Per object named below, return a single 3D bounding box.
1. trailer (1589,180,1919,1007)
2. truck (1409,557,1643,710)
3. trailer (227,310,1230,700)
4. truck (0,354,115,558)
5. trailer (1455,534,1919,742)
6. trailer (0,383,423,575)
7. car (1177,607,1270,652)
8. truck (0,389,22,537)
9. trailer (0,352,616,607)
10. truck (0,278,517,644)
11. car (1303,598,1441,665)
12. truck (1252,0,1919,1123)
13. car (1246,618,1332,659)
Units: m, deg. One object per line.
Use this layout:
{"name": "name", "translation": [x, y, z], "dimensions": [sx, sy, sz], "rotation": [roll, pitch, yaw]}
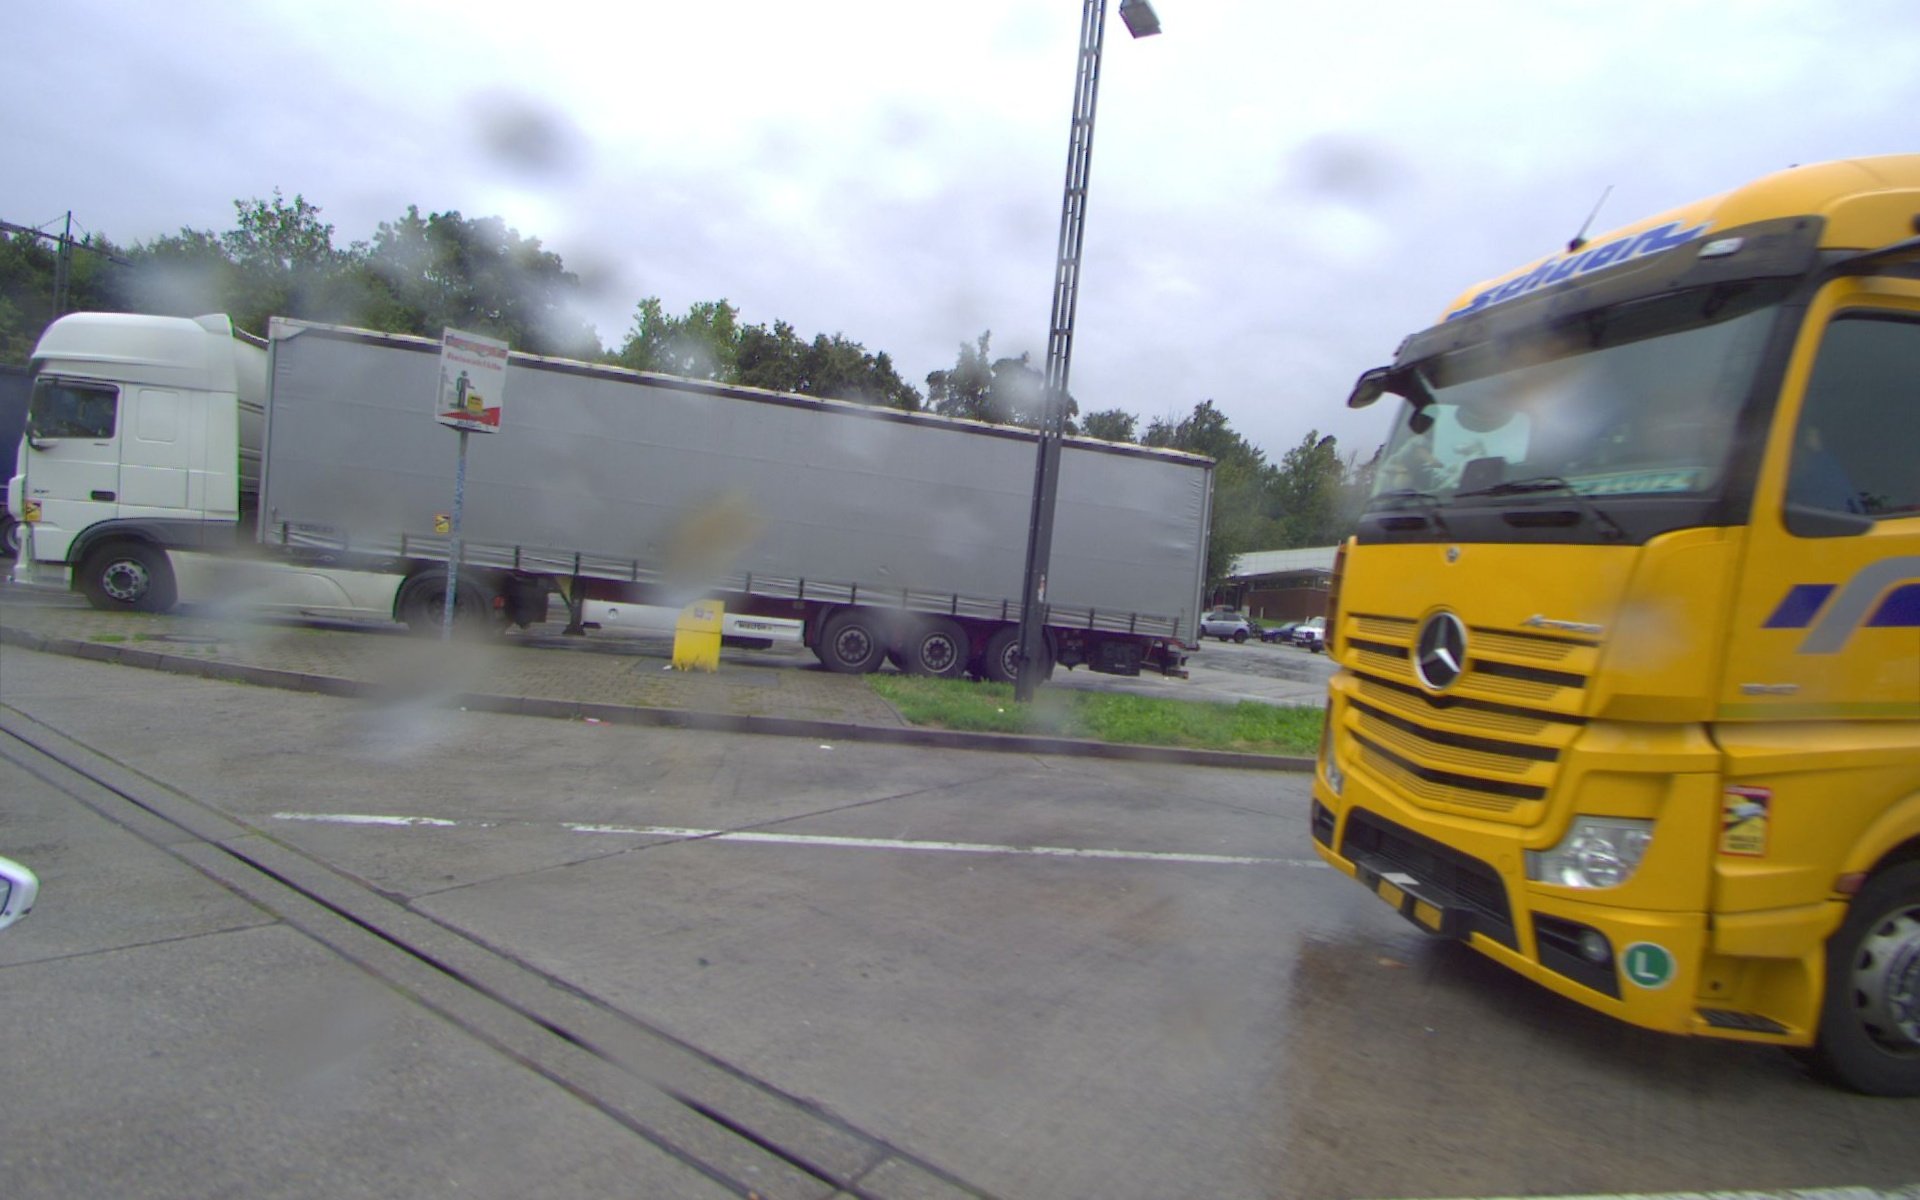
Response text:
{"name": "trailer", "translation": [12.525, 0.701, 6.740], "dimensions": [16.357, 3.971, 2.861], "rotation": [6, 2, -12]}
{"name": "truck", "translation": [18.639, 1.068, 33.748], "dimensions": [2.625, 4.324, 6.772], "rotation": [7, -2, -12]}
{"name": "trailer", "translation": [-2.886, -1.104, 15.794], "dimensions": [13.726, 3.971, 2.835], "rotation": [6, 2, -13]}
{"name": "truck", "translation": [-22.557, -3.302, 22.062], "dimensions": [5.215, 4.200, 2.819], "rotation": [5, 2, -12]}
{"name": "trailer", "translation": [19.918, 0.987, 27.733], "dimensions": [2.625, 4.306, 14.142], "rotation": [7, -2, -12]}
{"name": "trailer", "translation": [-23.638, -3.533, 29.108], "dimensions": [13.742, 4.204, 2.817], "rotation": [6, 2, -14]}
{"name": "car", "translation": [14.593, 1.652, 55.835], "dimensions": [4.519, 1.880, 1.834], "rotation": [8, -2, -14]}
{"name": "truck", "translation": [-30.241, -4.179, 27.502], "dimensions": [5.901, 4.204, 2.818], "rotation": [5, 2, -14]}
{"name": "trailer", "translation": [-15.616, -2.639, 23.594], "dimensions": [13.763, 4.226, 2.818], "rotation": [6, 2, -12]}
{"name": "truck", "translation": [-9.597, -1.714, 14.254], "dimensions": [5.323, 3.964, 2.822], "rotation": [6, 2, -13]}
{"name": "car", "translation": [22.003, 1.676, 53.750], "dimensions": [6.548, 2.665, 2.240], "rotation": [8, -2, -14]}
{"name": "truck", "translation": [6.118, 0.085, 5.395], "dimensions": [7.994, 3.971, 2.833], "rotation": [6, 2, -11]}
{"name": "car", "translation": [20.964, 2.458, 64.243], "dimensions": [4.671, 2.039, 1.998], "rotation": [6, 1, -5]}
